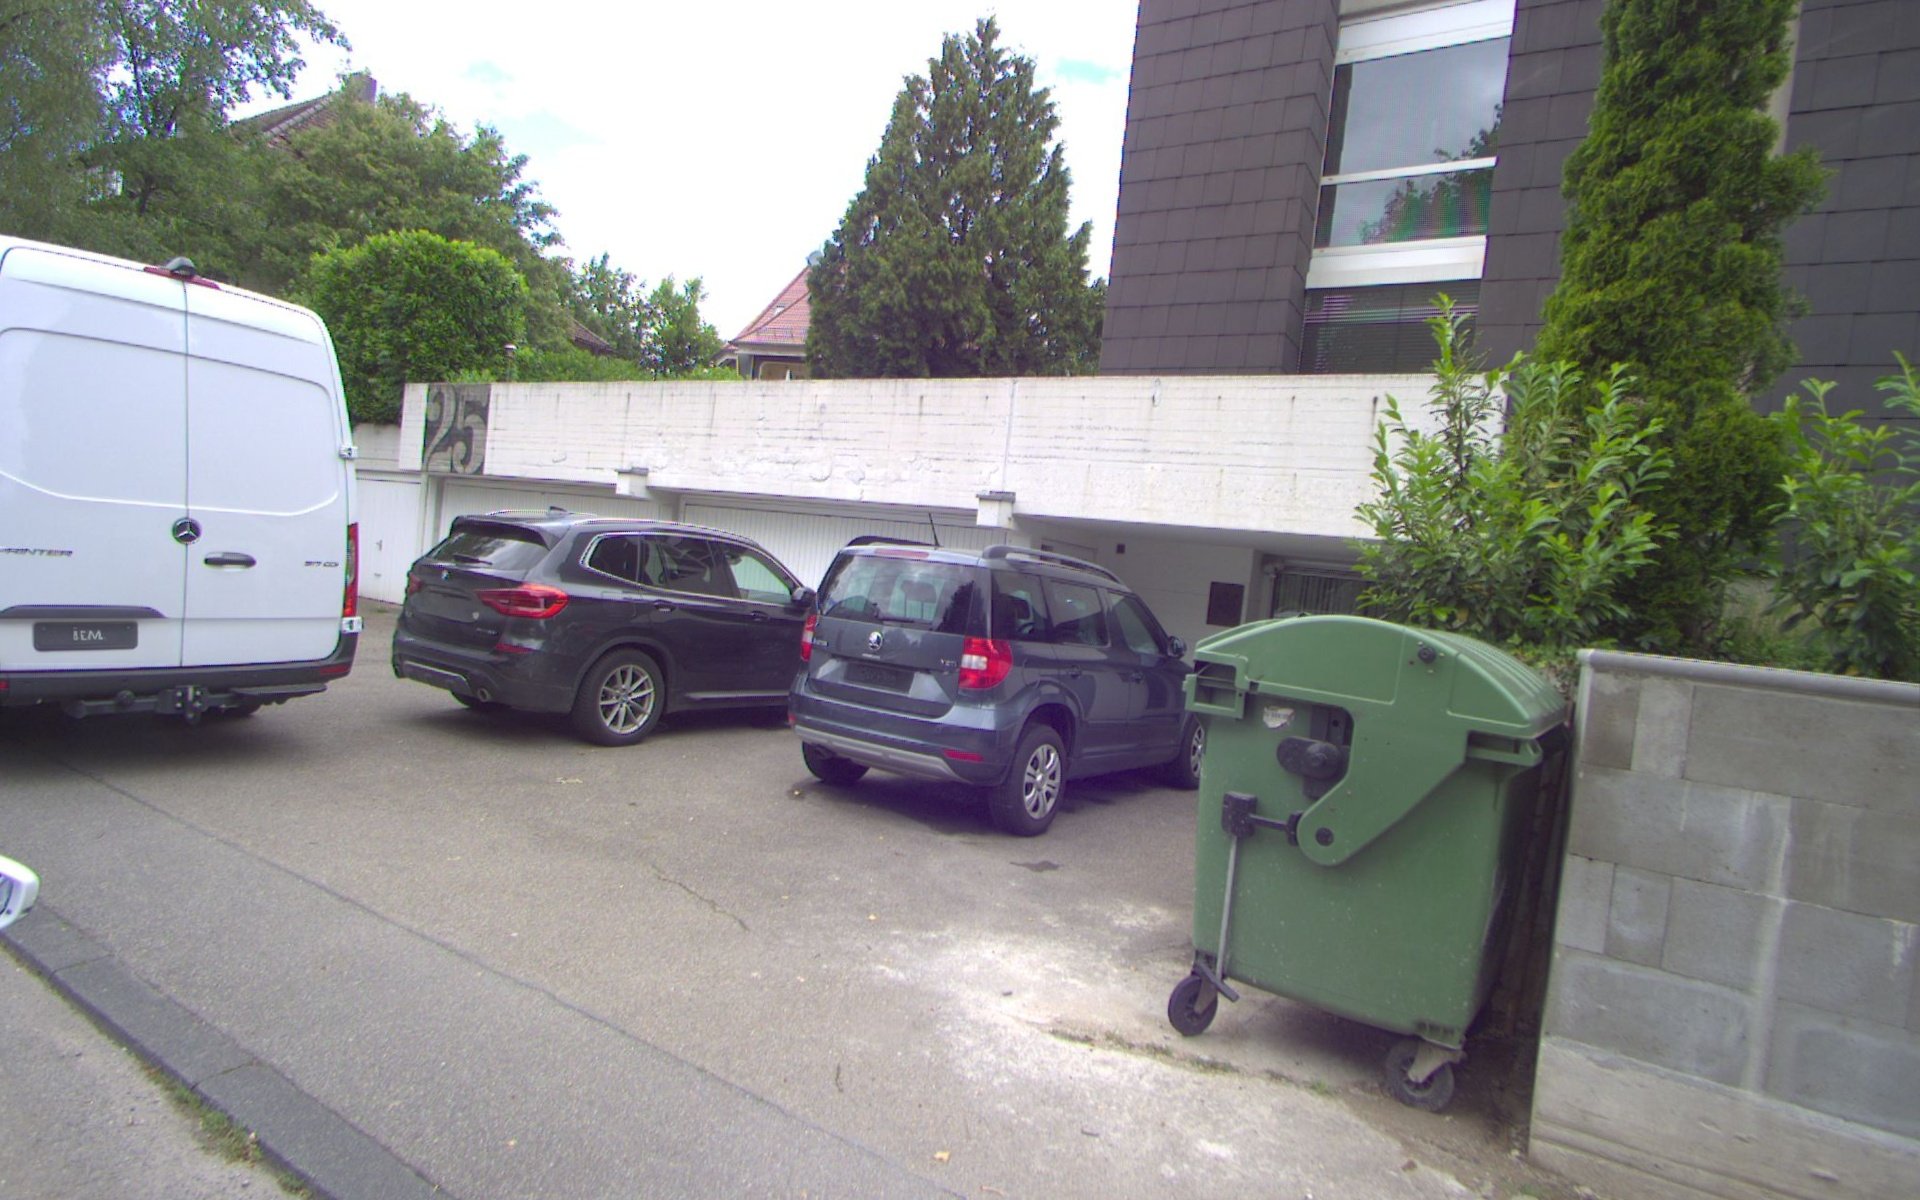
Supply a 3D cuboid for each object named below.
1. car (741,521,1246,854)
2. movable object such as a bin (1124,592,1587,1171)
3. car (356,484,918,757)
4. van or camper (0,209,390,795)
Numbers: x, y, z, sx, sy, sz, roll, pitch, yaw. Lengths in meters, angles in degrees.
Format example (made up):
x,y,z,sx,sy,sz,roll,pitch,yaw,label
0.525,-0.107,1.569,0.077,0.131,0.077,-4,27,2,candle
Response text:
x,y,z,sx,sy,sz,roll,pitch,yaw,label
0.497,0.512,7.375,1.801,1.674,3.796,7,2,35,car
1.433,0.779,3.548,1.161,1.470,1.300,7,2,31,movable object such as a bin
-2.426,0.166,8.705,1.800,1.674,4.394,7,2,33,car
-6.657,-0.720,6.835,6.252,2.664,1.963,7,4,31,van or camper
